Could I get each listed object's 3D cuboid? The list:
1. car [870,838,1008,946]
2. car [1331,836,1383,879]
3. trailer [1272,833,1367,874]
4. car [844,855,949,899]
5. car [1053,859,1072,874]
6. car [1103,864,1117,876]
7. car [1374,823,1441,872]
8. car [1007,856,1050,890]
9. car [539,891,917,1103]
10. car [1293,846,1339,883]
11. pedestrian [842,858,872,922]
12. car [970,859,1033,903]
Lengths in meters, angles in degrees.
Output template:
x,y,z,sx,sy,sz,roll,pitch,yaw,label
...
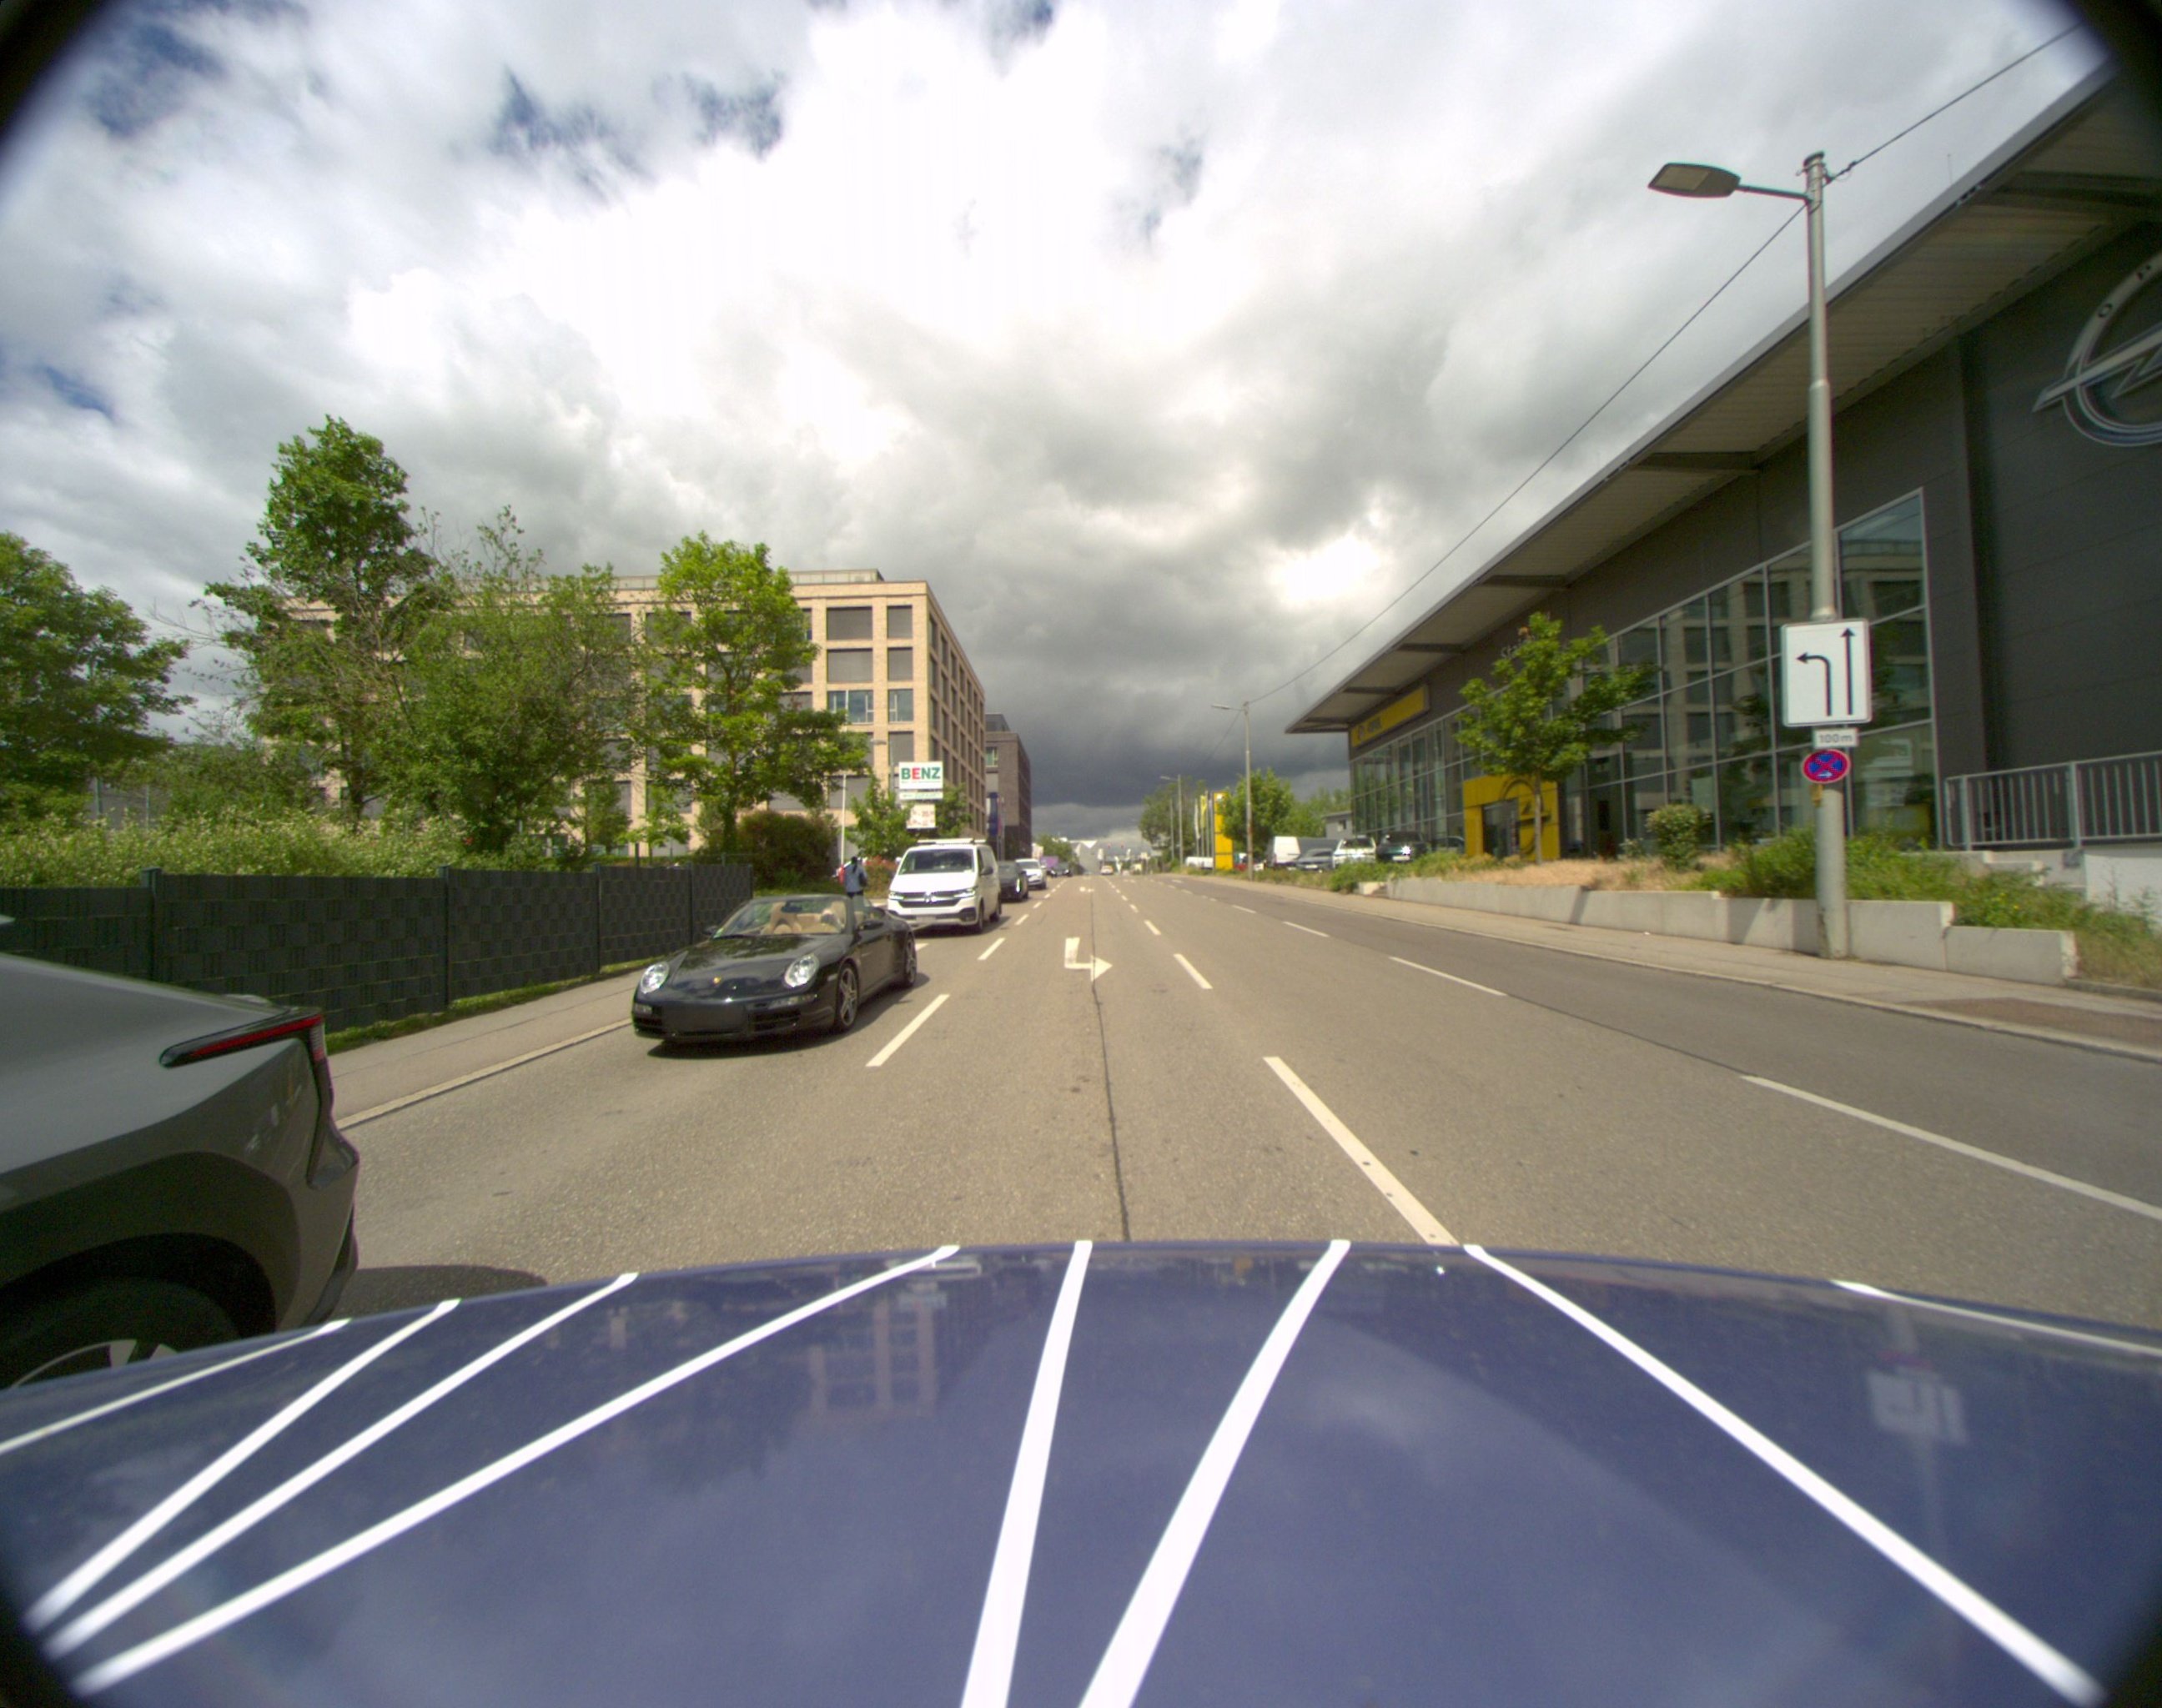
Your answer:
x,y,z,sx,sy,sz,roll,pitch,yaw,label
-3.008,0.737,17.240,2.089,2.037,4.760,-2,0,1,car
12.156,0.144,33.435,1.995,1.783,4.006,-1,0,21,car
14.438,-0.050,46.169,5.074,2.336,2.000,-1,1,-1,trailer
-7.643,0.943,31.780,3.998,1.723,1.822,-1,1,-3,car
-1.709,1.179,73.146,1.662,1.351,4.000,-1,0,1,car
4.472,2.469,117.081,1.998,1.731,4.547,-2,0,1,car
12.325,-0.238,28.924,1.996,1.718,4.005,-1,0,18,car
-2.605,0.911,38.421,1.818,1.577,4.000,-1,0,1,car
-3.048,1.162,7.644,1.824,1.286,4.038,-2,0,1,car
12.095,0.484,39.008,1.995,1.783,4.006,-1,0,21,car
-5.847,0.937,19.823,0.632,1.648,0.443,-1,1,-1,pedestrian
-2.840,0.926,27.880,1.818,1.454,4.000,-1,0,1,car
